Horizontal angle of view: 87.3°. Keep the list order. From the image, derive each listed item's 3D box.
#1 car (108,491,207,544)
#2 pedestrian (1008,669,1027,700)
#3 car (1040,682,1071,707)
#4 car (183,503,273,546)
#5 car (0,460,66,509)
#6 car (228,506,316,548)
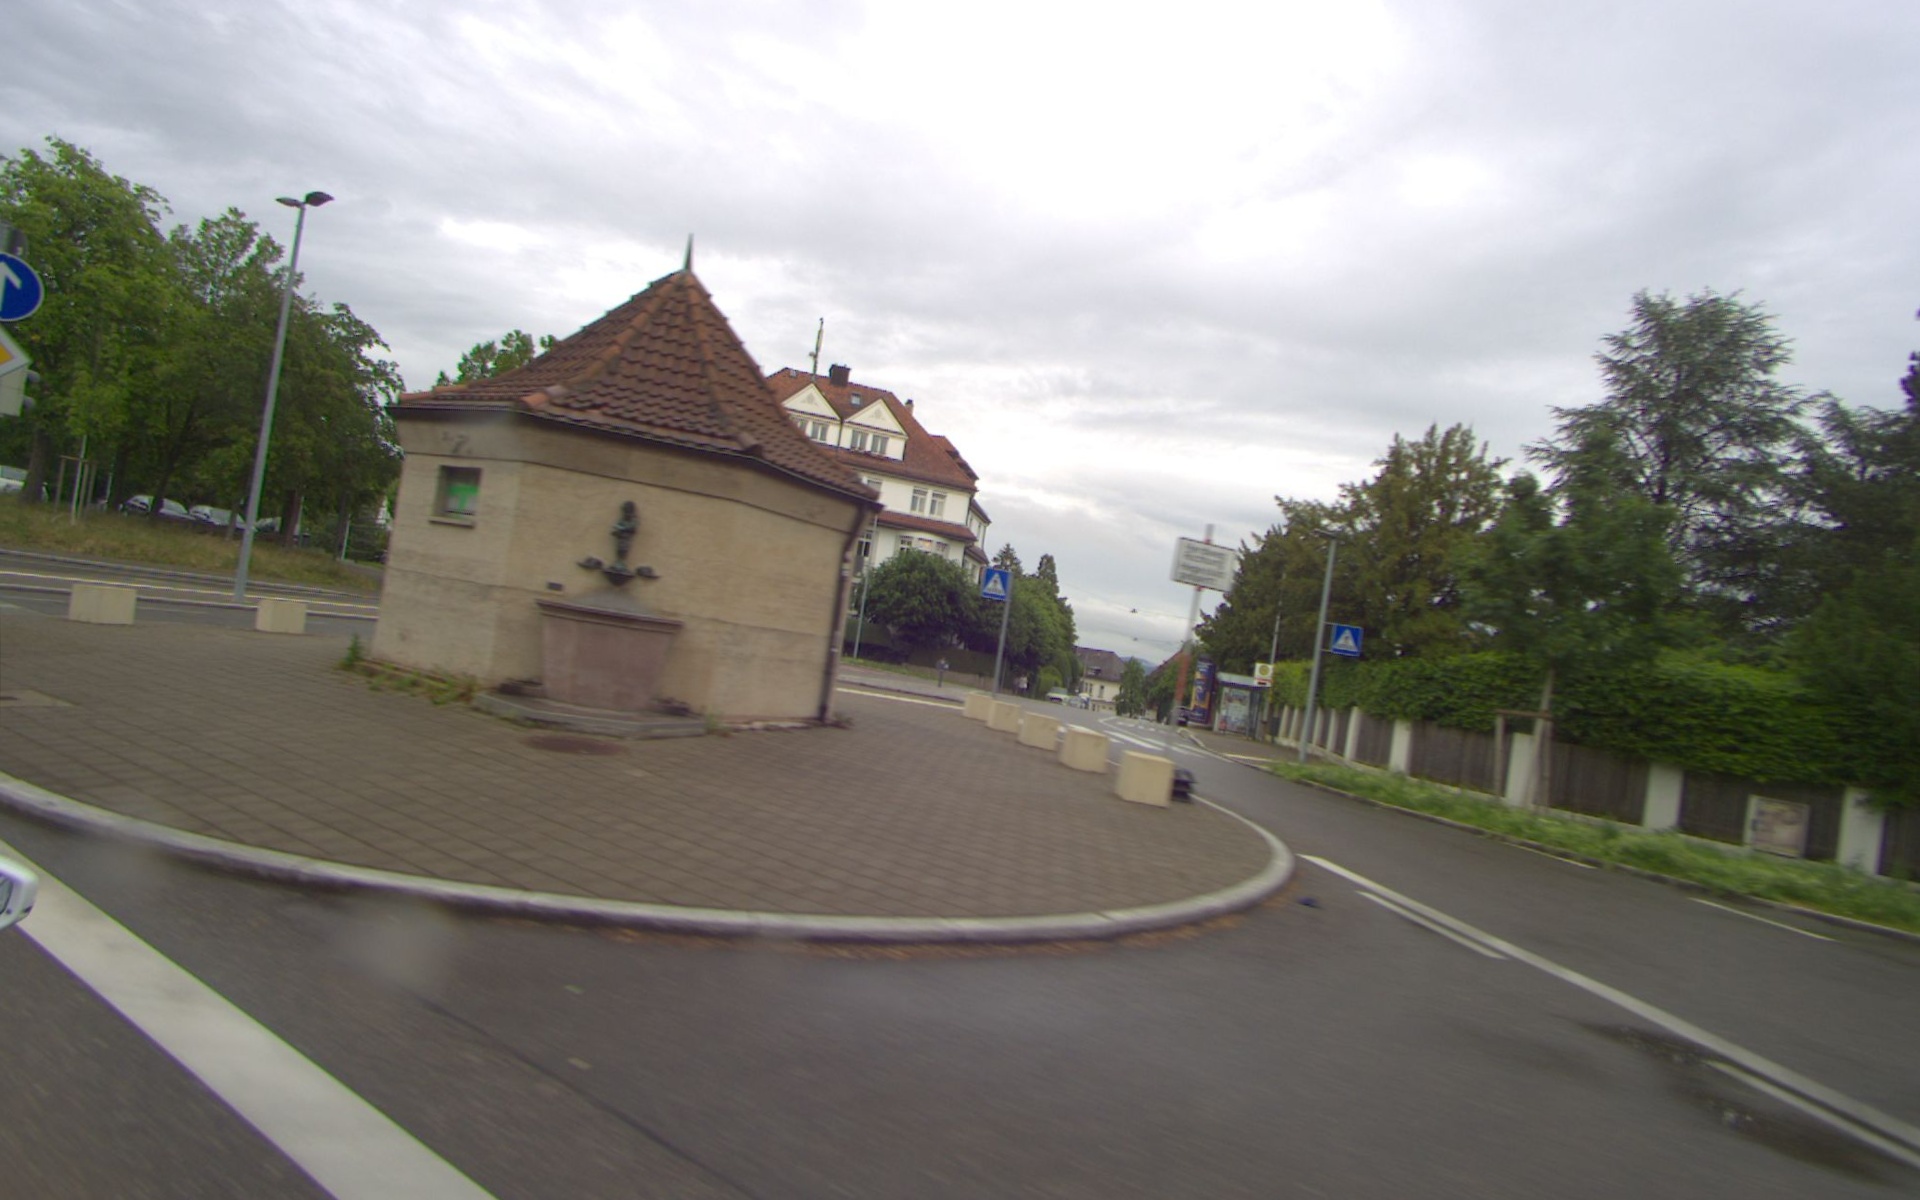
[{"bbox_3d":[-36.500,-3.762,45.759,3.932,1.678,2.002,8,-4,30],"label":"car"},{"bbox_3d":[3.672,5.350,63.826,0.806,1.856,0.696,7,-4,20],"label":"pedestrian"},{"bbox_3d":[6.961,6.880,73.437,1.962,1.495,4.009,8,-4,6],"label":"car"},{"bbox_3d":[-34.611,-3.580,47.546,4.000,1.497,1.889,7,-2,30],"label":"car"},{"bbox_3d":[-38.753,-4.784,41.218,4.000,1.495,1.892,6,-4,31],"label":"car"},{"bbox_3d":[-34.435,-3.643,50.363,3.999,1.495,1.892,6,-4,29],"label":"car"}]
